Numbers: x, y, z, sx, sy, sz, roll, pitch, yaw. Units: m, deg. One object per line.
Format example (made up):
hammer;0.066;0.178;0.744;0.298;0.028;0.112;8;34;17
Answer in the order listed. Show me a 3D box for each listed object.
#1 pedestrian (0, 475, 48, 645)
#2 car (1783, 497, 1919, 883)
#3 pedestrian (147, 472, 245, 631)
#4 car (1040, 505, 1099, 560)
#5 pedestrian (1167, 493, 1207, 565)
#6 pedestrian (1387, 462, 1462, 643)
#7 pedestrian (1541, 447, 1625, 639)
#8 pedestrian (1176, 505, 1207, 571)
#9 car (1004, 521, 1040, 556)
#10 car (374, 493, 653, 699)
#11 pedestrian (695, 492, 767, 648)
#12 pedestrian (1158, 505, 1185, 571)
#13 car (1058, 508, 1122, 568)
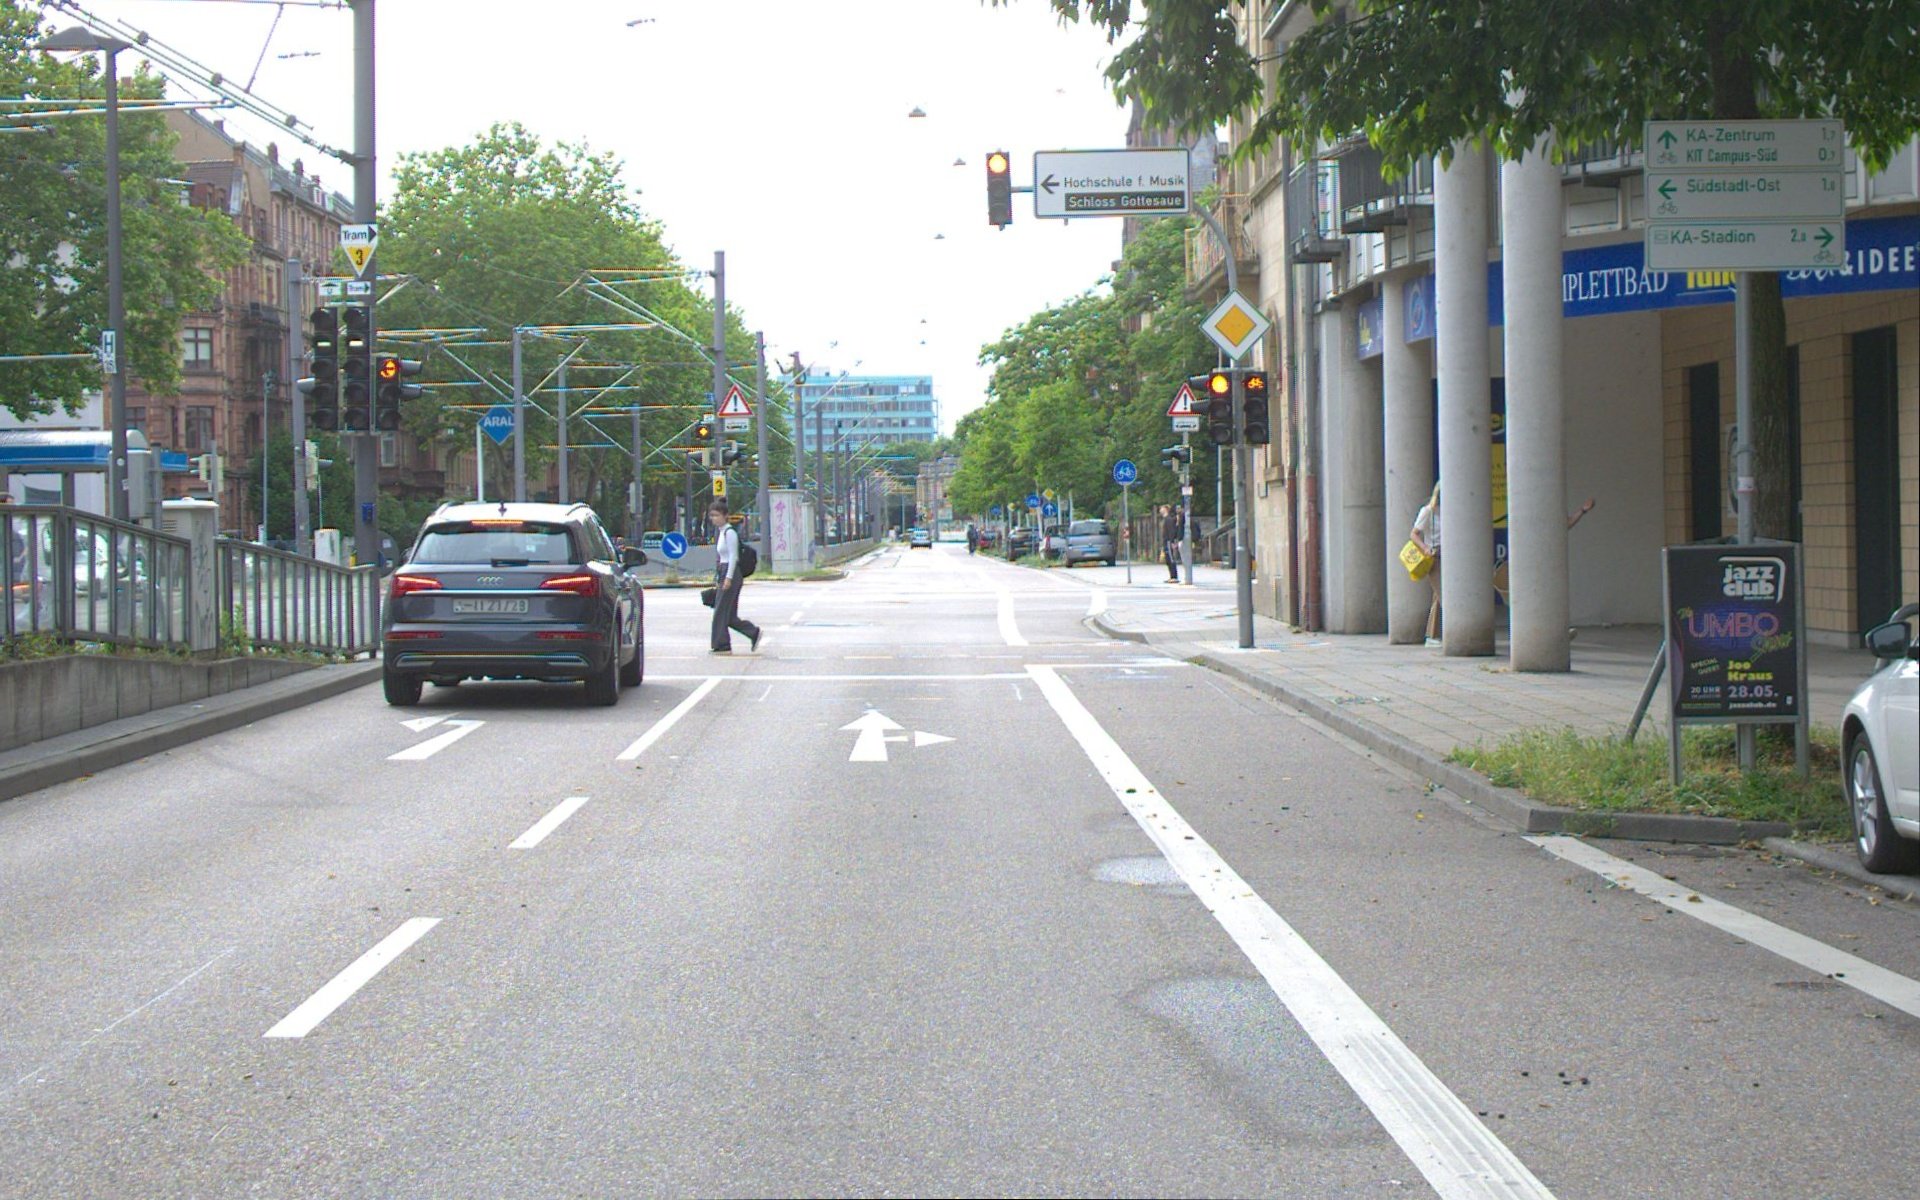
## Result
pedestrian;-10.184;-0.417;36.094;1.130;1.772;0.628;-1;1;-18
car;4.553;0.320;13.222;1.676;1.493;4.390;-3;1;1
pedestrian;-8.657;-0.555;38.944;0.917;1.778;0.646;1;1;37
car;4.059;-2.524;127.722;1.993;2.007;4.000;0;1;-1
pedestrian;5.205;-1.631;78.718;0.850;1.648;0.508;0;1;-2
pedestrian;4.707;-0.489;34.859;0.615;1.799;0.737;-2;1;1
pedestrian;6.251;-0.575;34.503;0.675;1.884;0.737;-2;1;1
pedestrian;5.406;-1.439;80.263;0.653;1.531;0.466;0;1;-5
car;3.603;-3.587;200.830;1.993;2.007;4.000;0;1;-1
car;-3.672;-0.081;28.976;1.880;1.596;4.358;0;1;-1
pedestrian;-2.474;-0.330;37.136;0.728;1.656;0.756;0;1;-1
pedestrian;4.965;-1.455;80.700;0.545;1.531;0.466;0;1;-5
car;4.454;-2.141;118.293;1.993;2.007;4.000;0;1;-1
